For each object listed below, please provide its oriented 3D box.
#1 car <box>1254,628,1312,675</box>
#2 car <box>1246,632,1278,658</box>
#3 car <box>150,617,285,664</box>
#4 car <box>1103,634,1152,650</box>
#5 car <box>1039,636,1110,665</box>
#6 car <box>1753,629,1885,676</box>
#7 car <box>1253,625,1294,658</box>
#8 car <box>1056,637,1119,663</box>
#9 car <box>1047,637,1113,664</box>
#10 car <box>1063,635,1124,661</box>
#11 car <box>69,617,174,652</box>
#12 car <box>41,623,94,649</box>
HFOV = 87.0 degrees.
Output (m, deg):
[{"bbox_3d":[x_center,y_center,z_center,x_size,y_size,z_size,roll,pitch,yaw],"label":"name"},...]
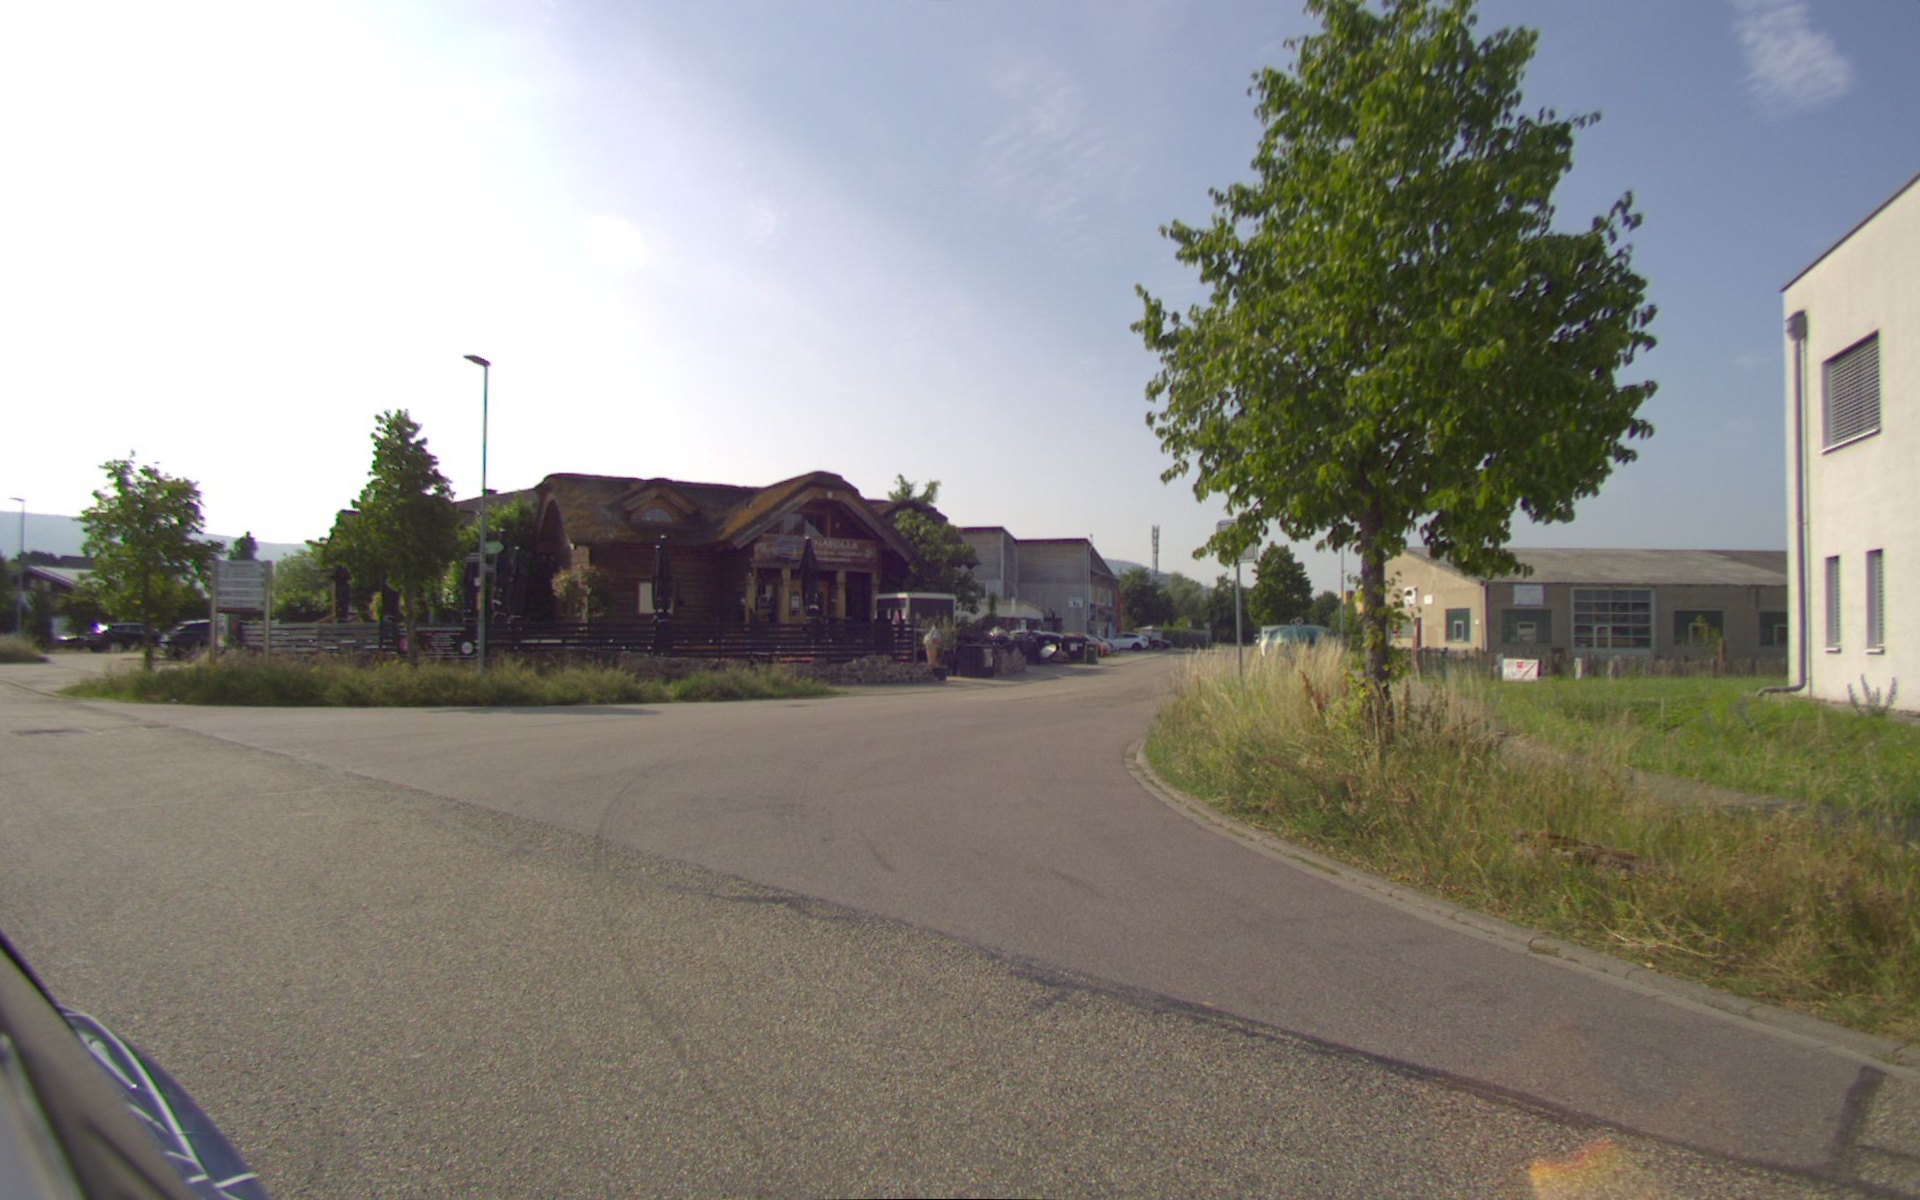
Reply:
[{"bbox_3d":[13.362,2.073,42.118,2.004,1.838,4.864,0,-2,15],"label":"car"},{"bbox_3d":[21.298,3.136,71.381,1.985,1.741,3.974,-1,-2,19],"label":"car"},{"bbox_3d":[-29.088,1.564,39.737,1.999,1.741,3.945,-1,-2,42],"label":"car"},{"bbox_3d":[14.509,3.650,87.648,4.029,1.378,1.753,-1,-2,16],"label":"car"},{"bbox_3d":[7.298,3.177,64.377,4.131,1.748,1.988,-1,-2,19],"label":"car"},{"bbox_3d":[41.395,2.476,48.933,2.114,2.155,4.656,0,-2,-5],"label":"car"},{"bbox_3d":[17.047,2.225,55.173,1.981,1.741,3.981,0,-2,15],"label":"car"},{"bbox_3d":[8.643,3.379,68.615,3.968,1.671,1.988,-1,-2,19],"label":"car"},{"bbox_3d":[7.899,3.317,66.461,3.968,1.710,1.988,-1,-2,19],"label":"car"},{"bbox_3d":[9.349,3.352,70.961,3.968,1.744,1.988,-1,-2,19],"label":"car"},{"bbox_3d":[-45.828,1.867,55.391,1.985,1.807,3.974,-1,-2,19],"label":"car"},{"bbox_3d":[-53.950,2.158,61.164,3.541,1.492,1.596,-1,-2,34],"label":"car"}]
